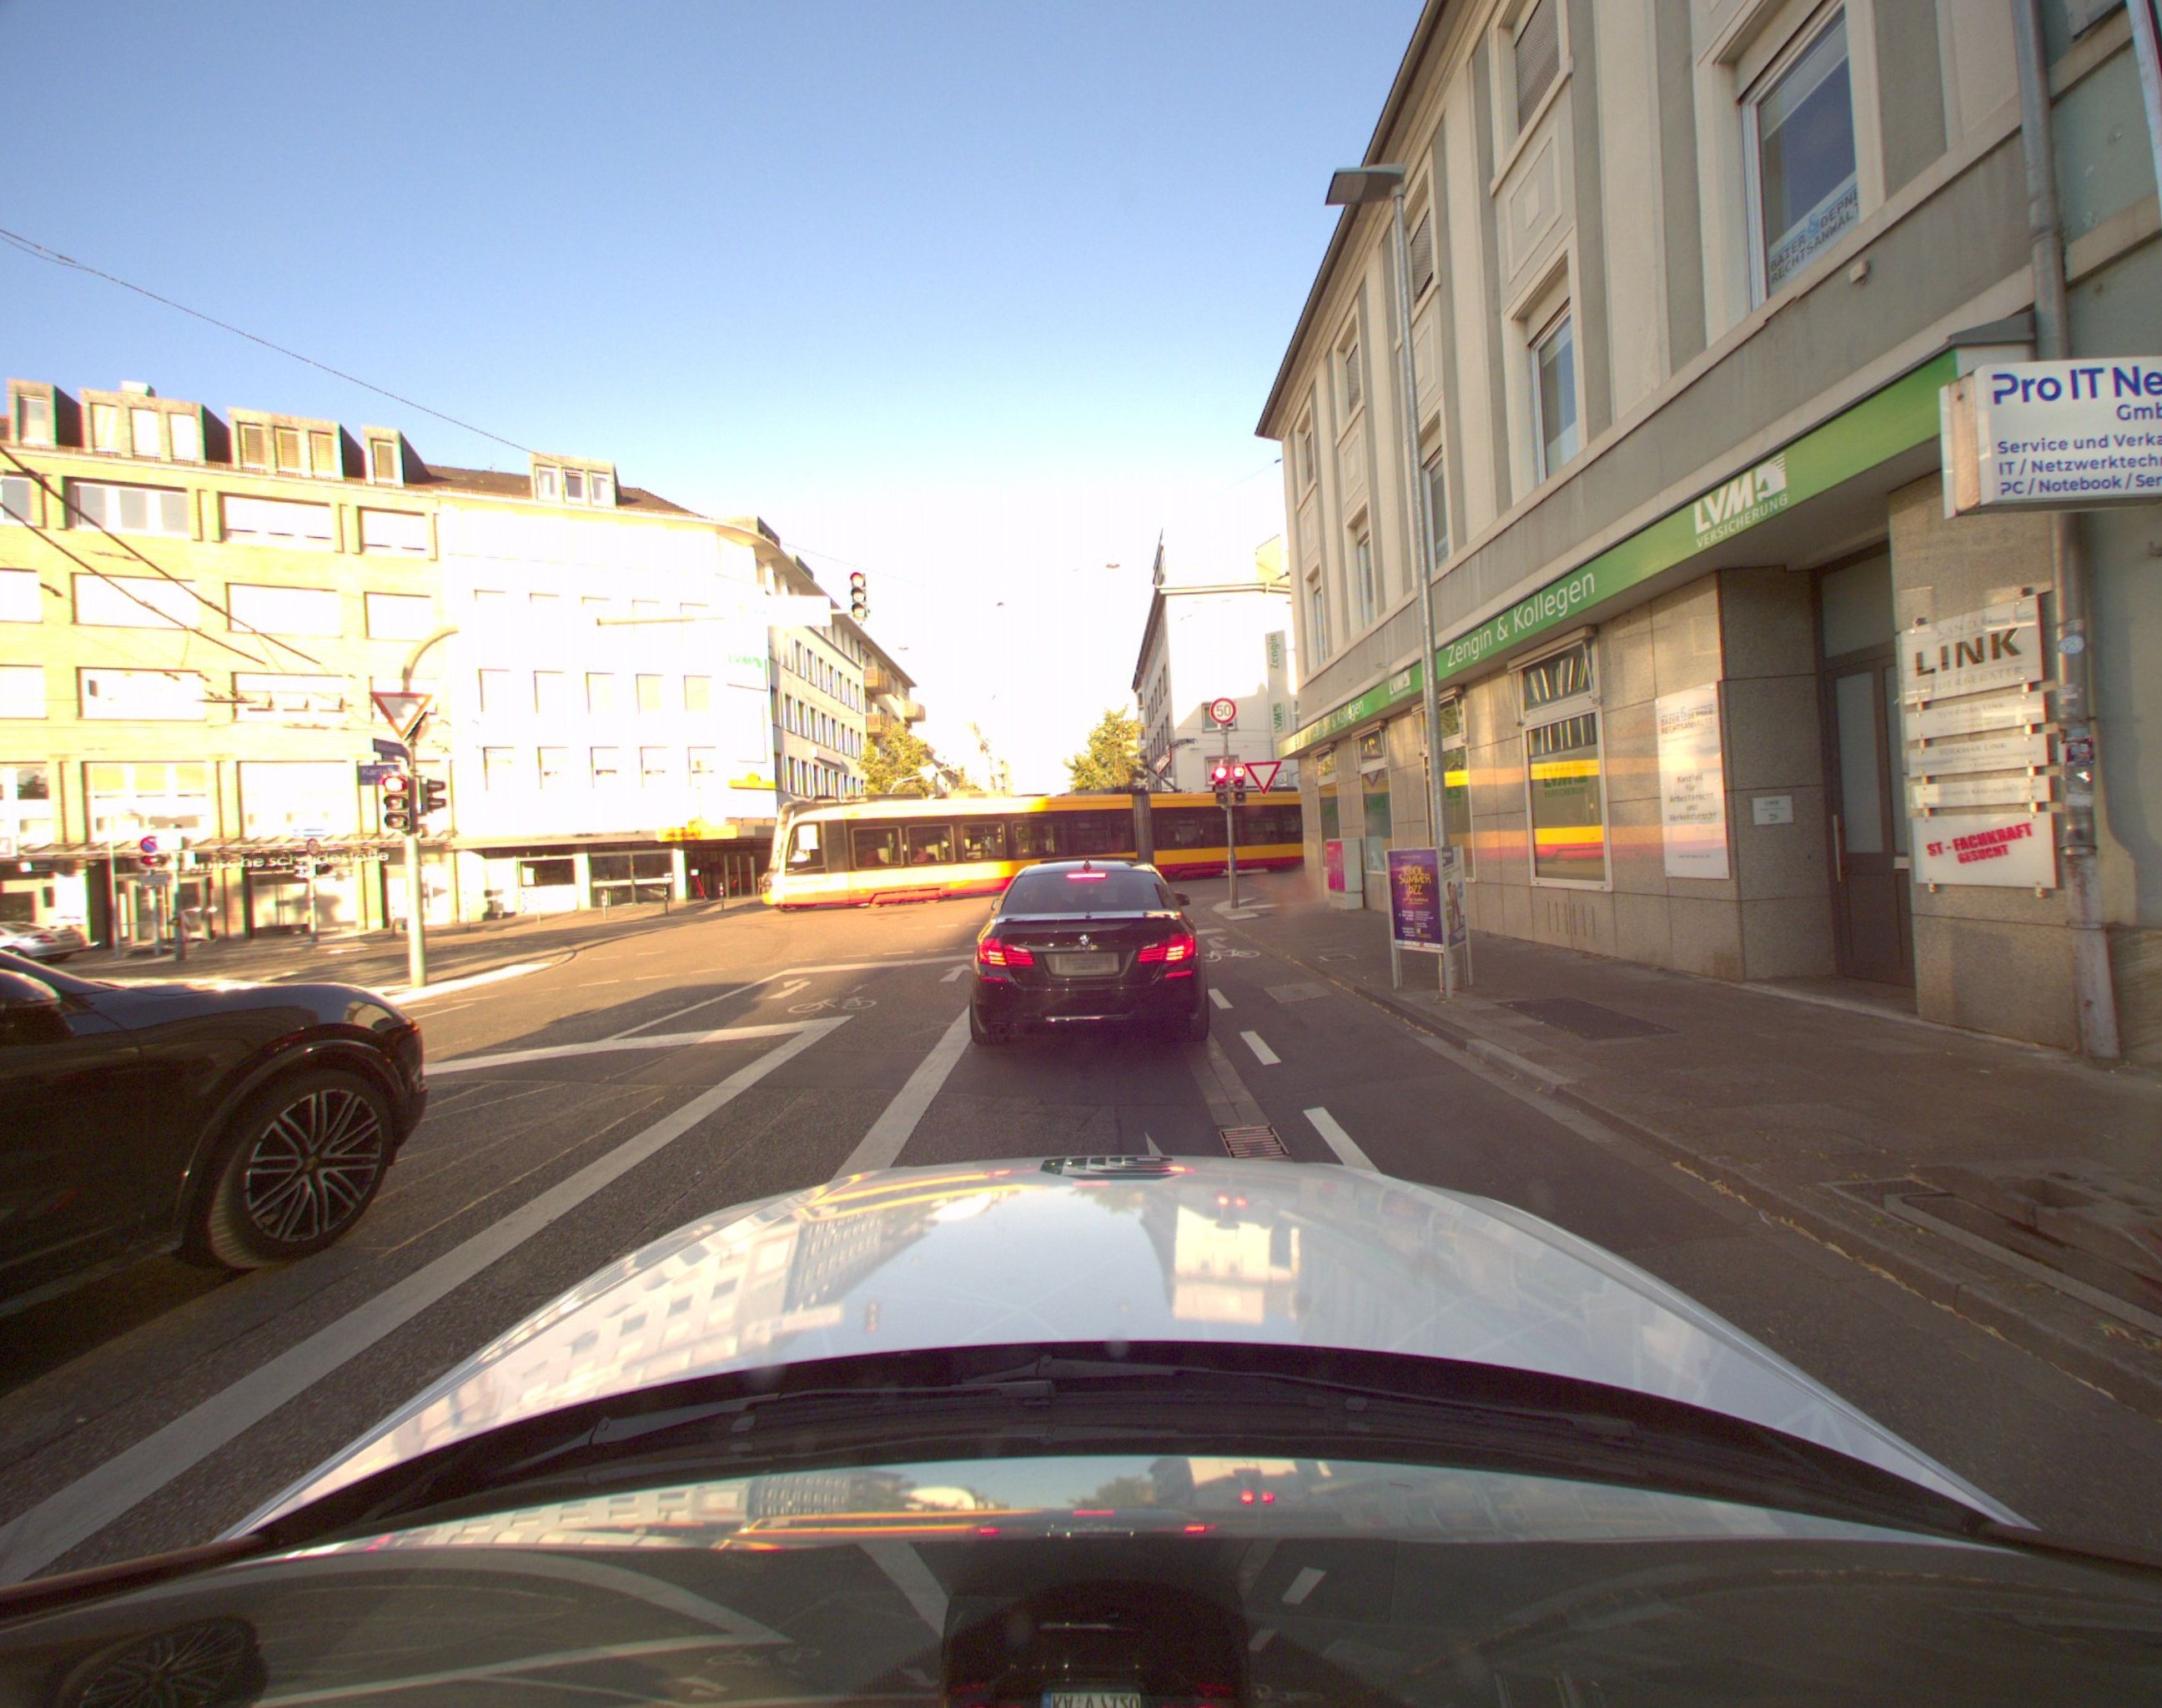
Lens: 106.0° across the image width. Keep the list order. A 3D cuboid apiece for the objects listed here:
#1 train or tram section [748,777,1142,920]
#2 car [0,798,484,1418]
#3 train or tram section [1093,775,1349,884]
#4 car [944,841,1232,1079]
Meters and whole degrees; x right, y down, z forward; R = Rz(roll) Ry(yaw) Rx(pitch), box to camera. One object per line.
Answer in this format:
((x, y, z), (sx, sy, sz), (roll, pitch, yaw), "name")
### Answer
((-4.160, -0.407, 27.563), (12.696, 3.865, 3.052), (-4, 0, -30), "train or tram section")
((-4.004, 0.766, 1.728), (1.942, 1.714, 4.562), (-4, 0, 1), "car")
((5.899, -1.091, 33.242), (10.486, 3.811, 3.053), (-4, 0, -28), "train or tram section")
((0.034, 0.702, 7.769), (1.898, 1.540, 4.448), (-2, 0, -1), "car")
